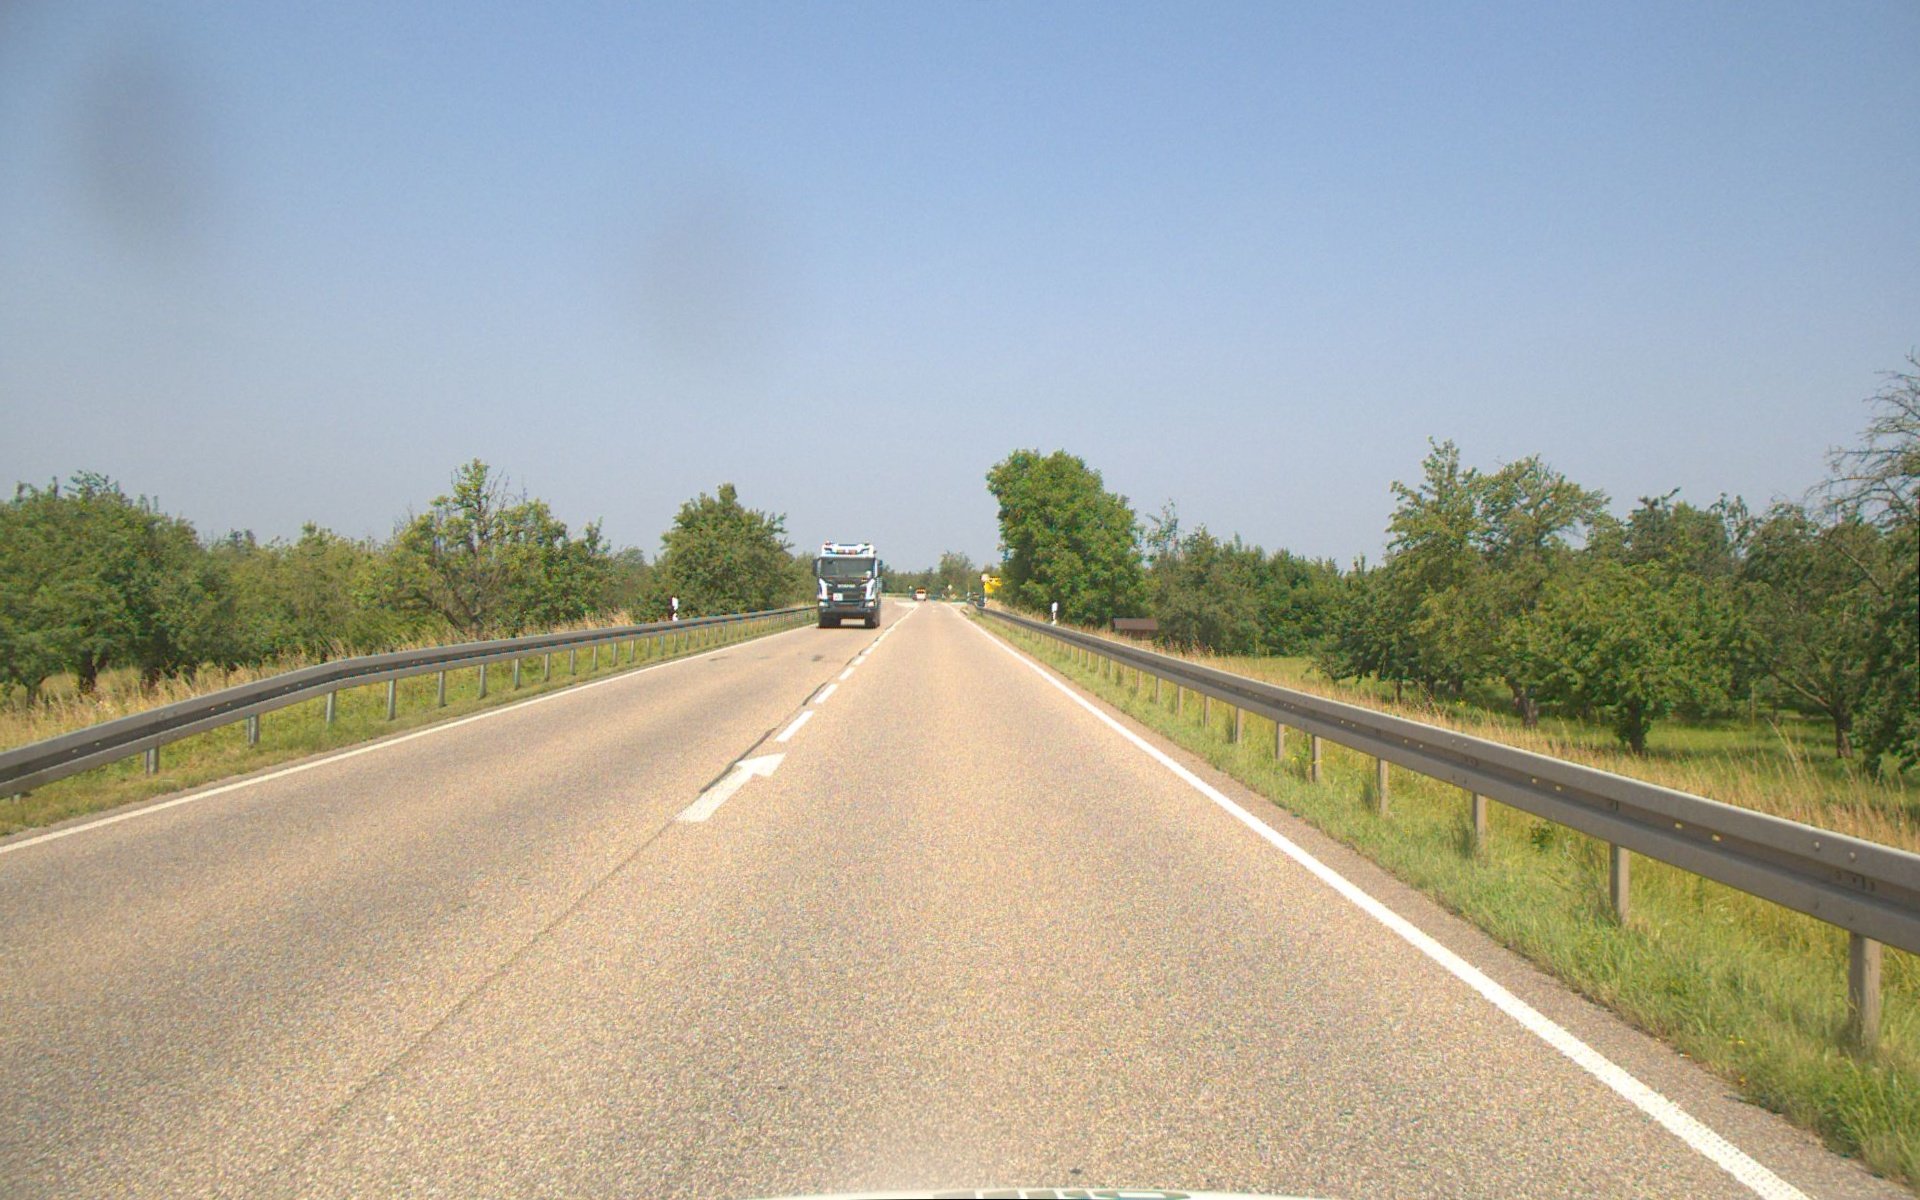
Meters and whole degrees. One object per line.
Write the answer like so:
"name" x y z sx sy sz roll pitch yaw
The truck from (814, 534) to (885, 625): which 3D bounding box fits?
"truck" -4.758 -0.834 72.957 2.673 3.736 9.380 1 0 -1
